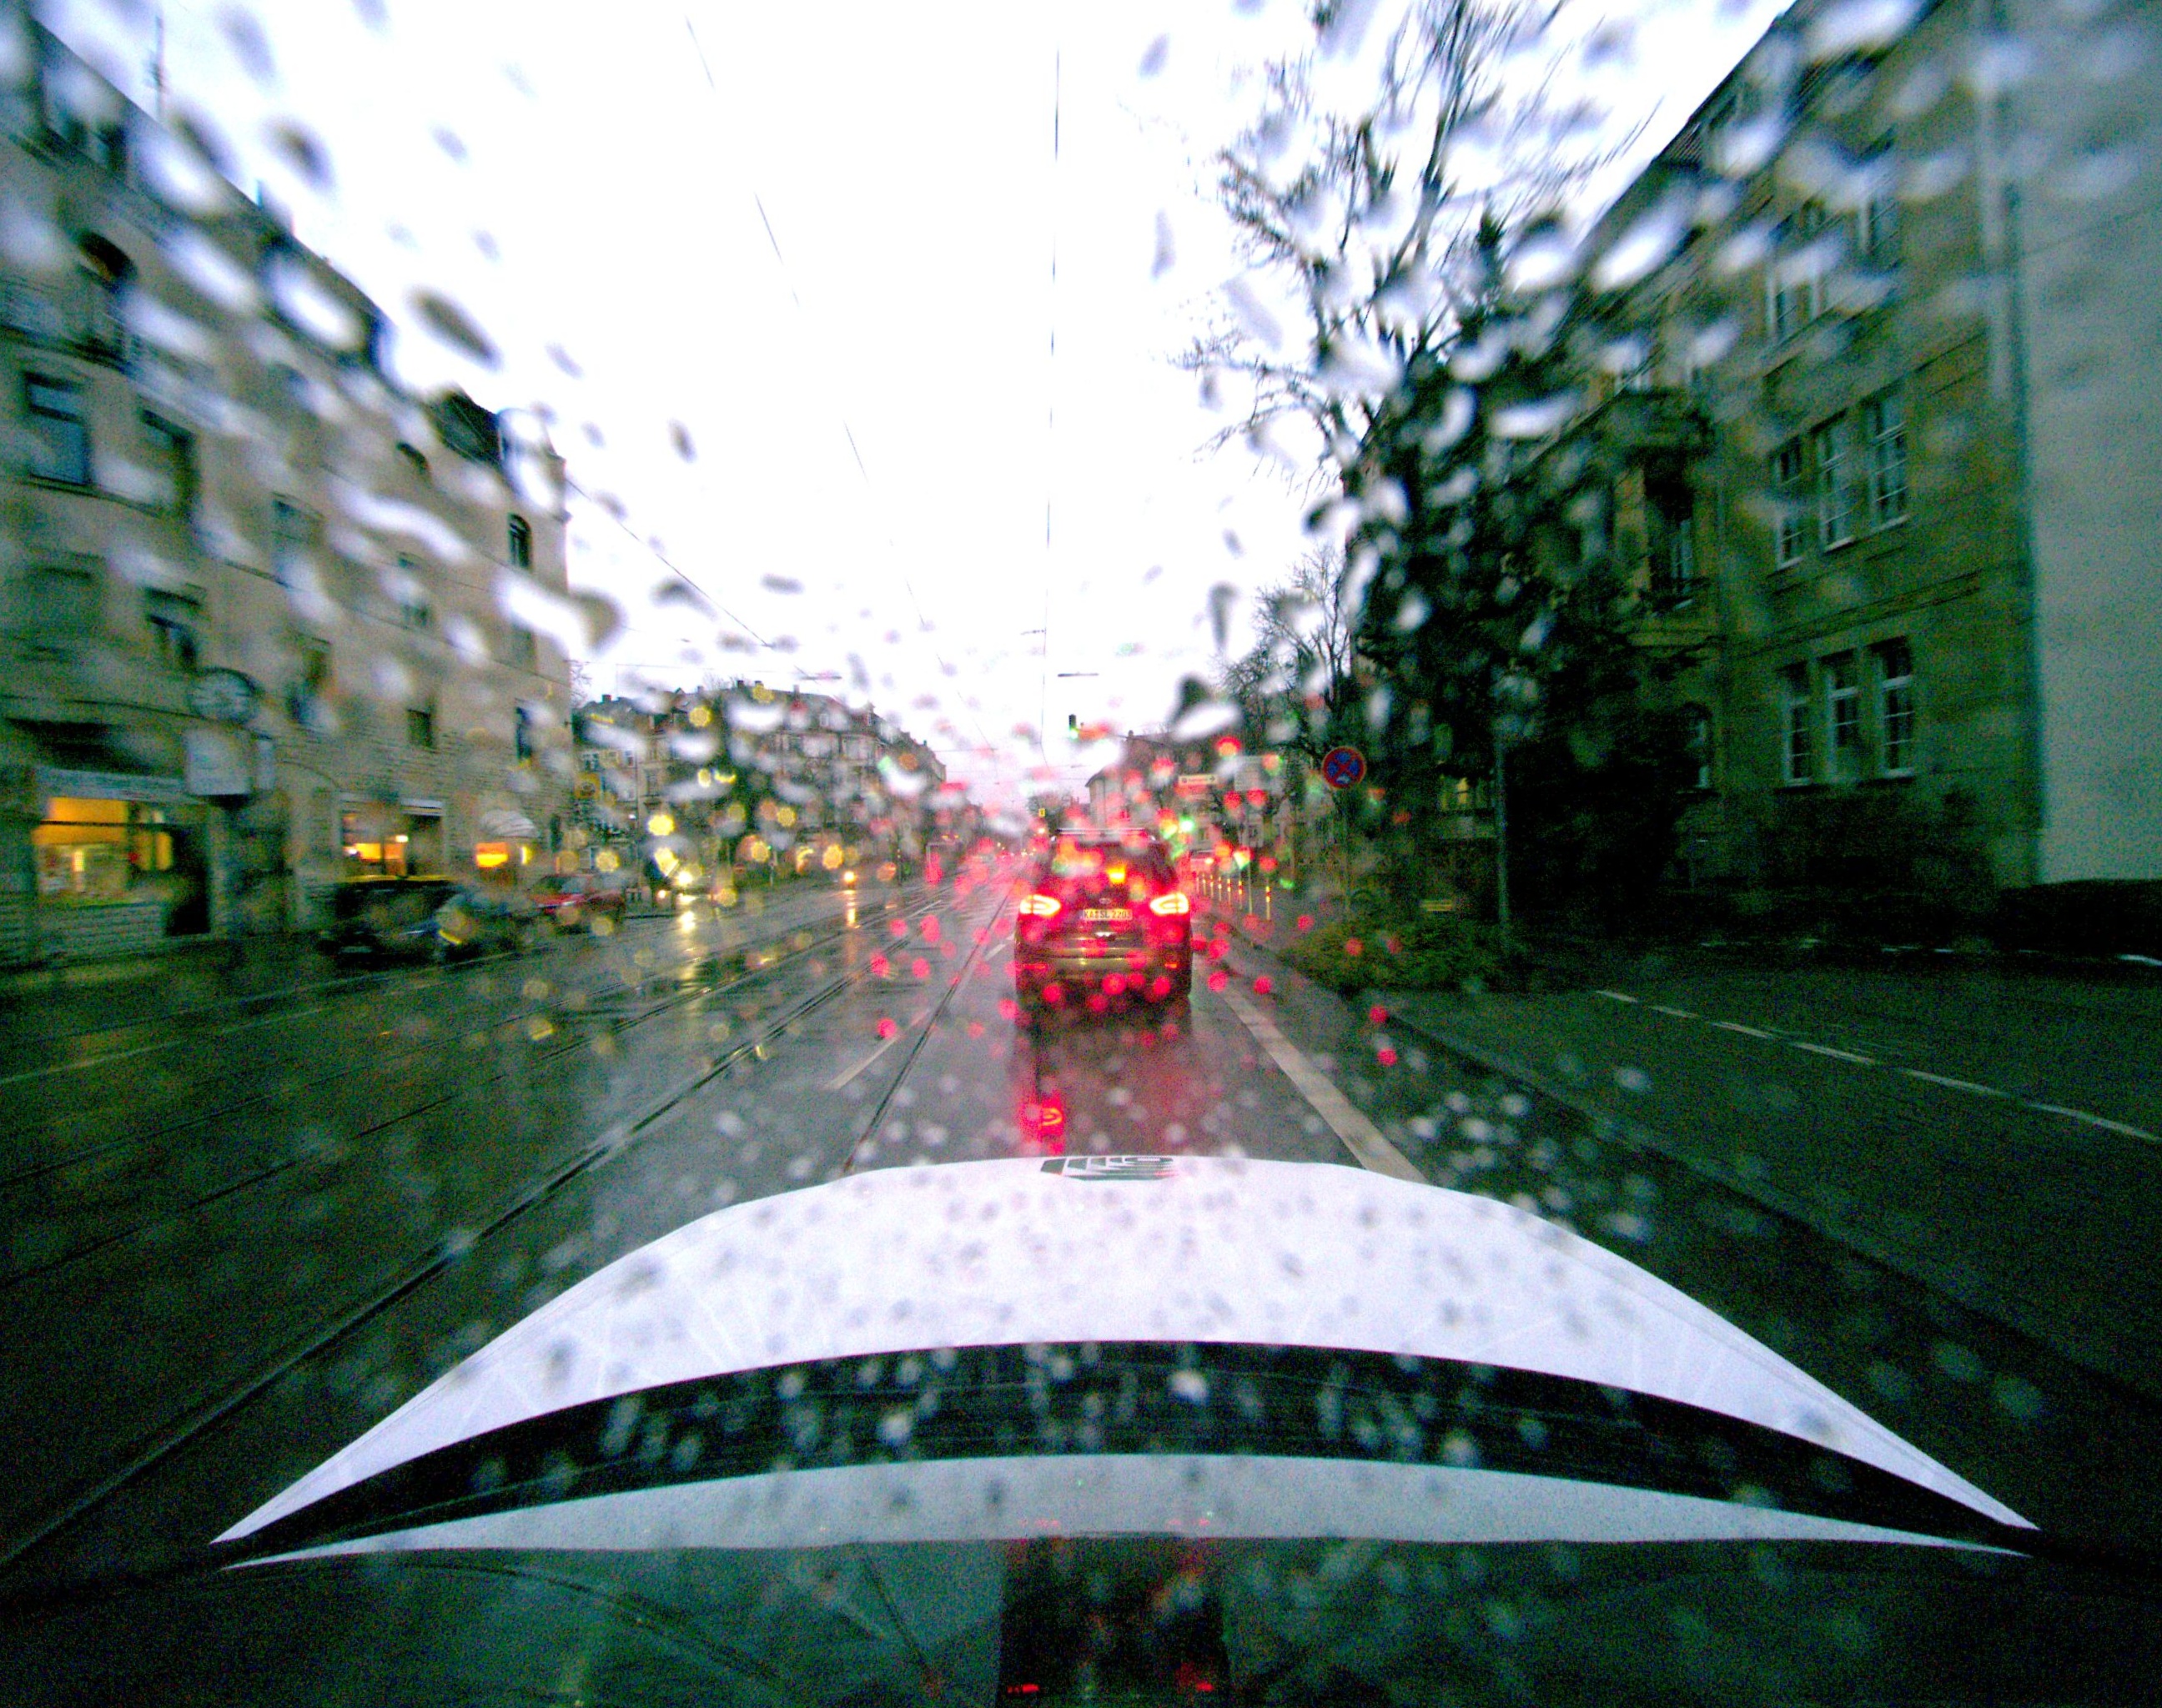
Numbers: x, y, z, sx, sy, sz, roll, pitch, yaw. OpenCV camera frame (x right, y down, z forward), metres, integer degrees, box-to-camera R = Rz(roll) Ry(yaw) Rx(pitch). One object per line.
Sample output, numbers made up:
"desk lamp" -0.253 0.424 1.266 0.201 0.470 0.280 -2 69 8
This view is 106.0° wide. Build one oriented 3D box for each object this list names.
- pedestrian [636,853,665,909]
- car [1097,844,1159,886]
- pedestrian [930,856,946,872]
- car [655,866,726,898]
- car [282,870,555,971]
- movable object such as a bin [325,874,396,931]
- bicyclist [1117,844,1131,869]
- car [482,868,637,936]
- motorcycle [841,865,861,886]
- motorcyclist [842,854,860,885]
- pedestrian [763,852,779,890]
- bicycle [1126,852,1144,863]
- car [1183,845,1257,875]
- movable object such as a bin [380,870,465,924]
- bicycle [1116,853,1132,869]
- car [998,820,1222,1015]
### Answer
"pedestrian" -15.755 0.972 29.800 0.748 2.014 0.652 -2 -1 33
"car" 2.054 0.454 34.529 1.696 1.662 4.017 -2 0 16
"pedestrian" -10.968 0.771 62.591 1.045 1.200 0.884 -1 -1 -2
"car" -21.717 1.545 45.266 3.948 1.673 2.035 -2 0 39
"car" -13.096 1.218 16.596 1.983 1.645 4.622 3 -1 -5
"movable object such as a bin" -18.565 1.227 21.006 0.897 1.377 1.005 -2 0 -3
"bicyclist" 2.960 0.190 56.022 0.716 1.662 1.054 2 0 -7
"car" -14.088 1.249 22.312 2.036 1.551 4.020 2 0 -8
"motorcycle" -12.094 1.114 42.838 0.857 0.991 1.910 -2 0 -13
"motorcyclist" -12.100 0.808 42.835 0.845 1.548 1.010 -2 0 -14
"pedestrian" -16.922 0.938 44.439 0.707 2.013 0.655 -2 0 -23
"bicycle" 6.203 0.389 93.550 1.832 1.183 0.718 -2 0 29
"car" 7.143 0.312 41.761 4.023 1.376 1.649 -2 0 -44
"movable object such as a bin" -18.134 1.159 22.457 1.291 1.367 1.251 -2 0 -3
"bicycle" 2.950 0.475 56.056 0.716 1.112 1.937 2 0 -7
"car" 0.248 0.583 9.986 2.097 1.816 4.659 0 0 -1
